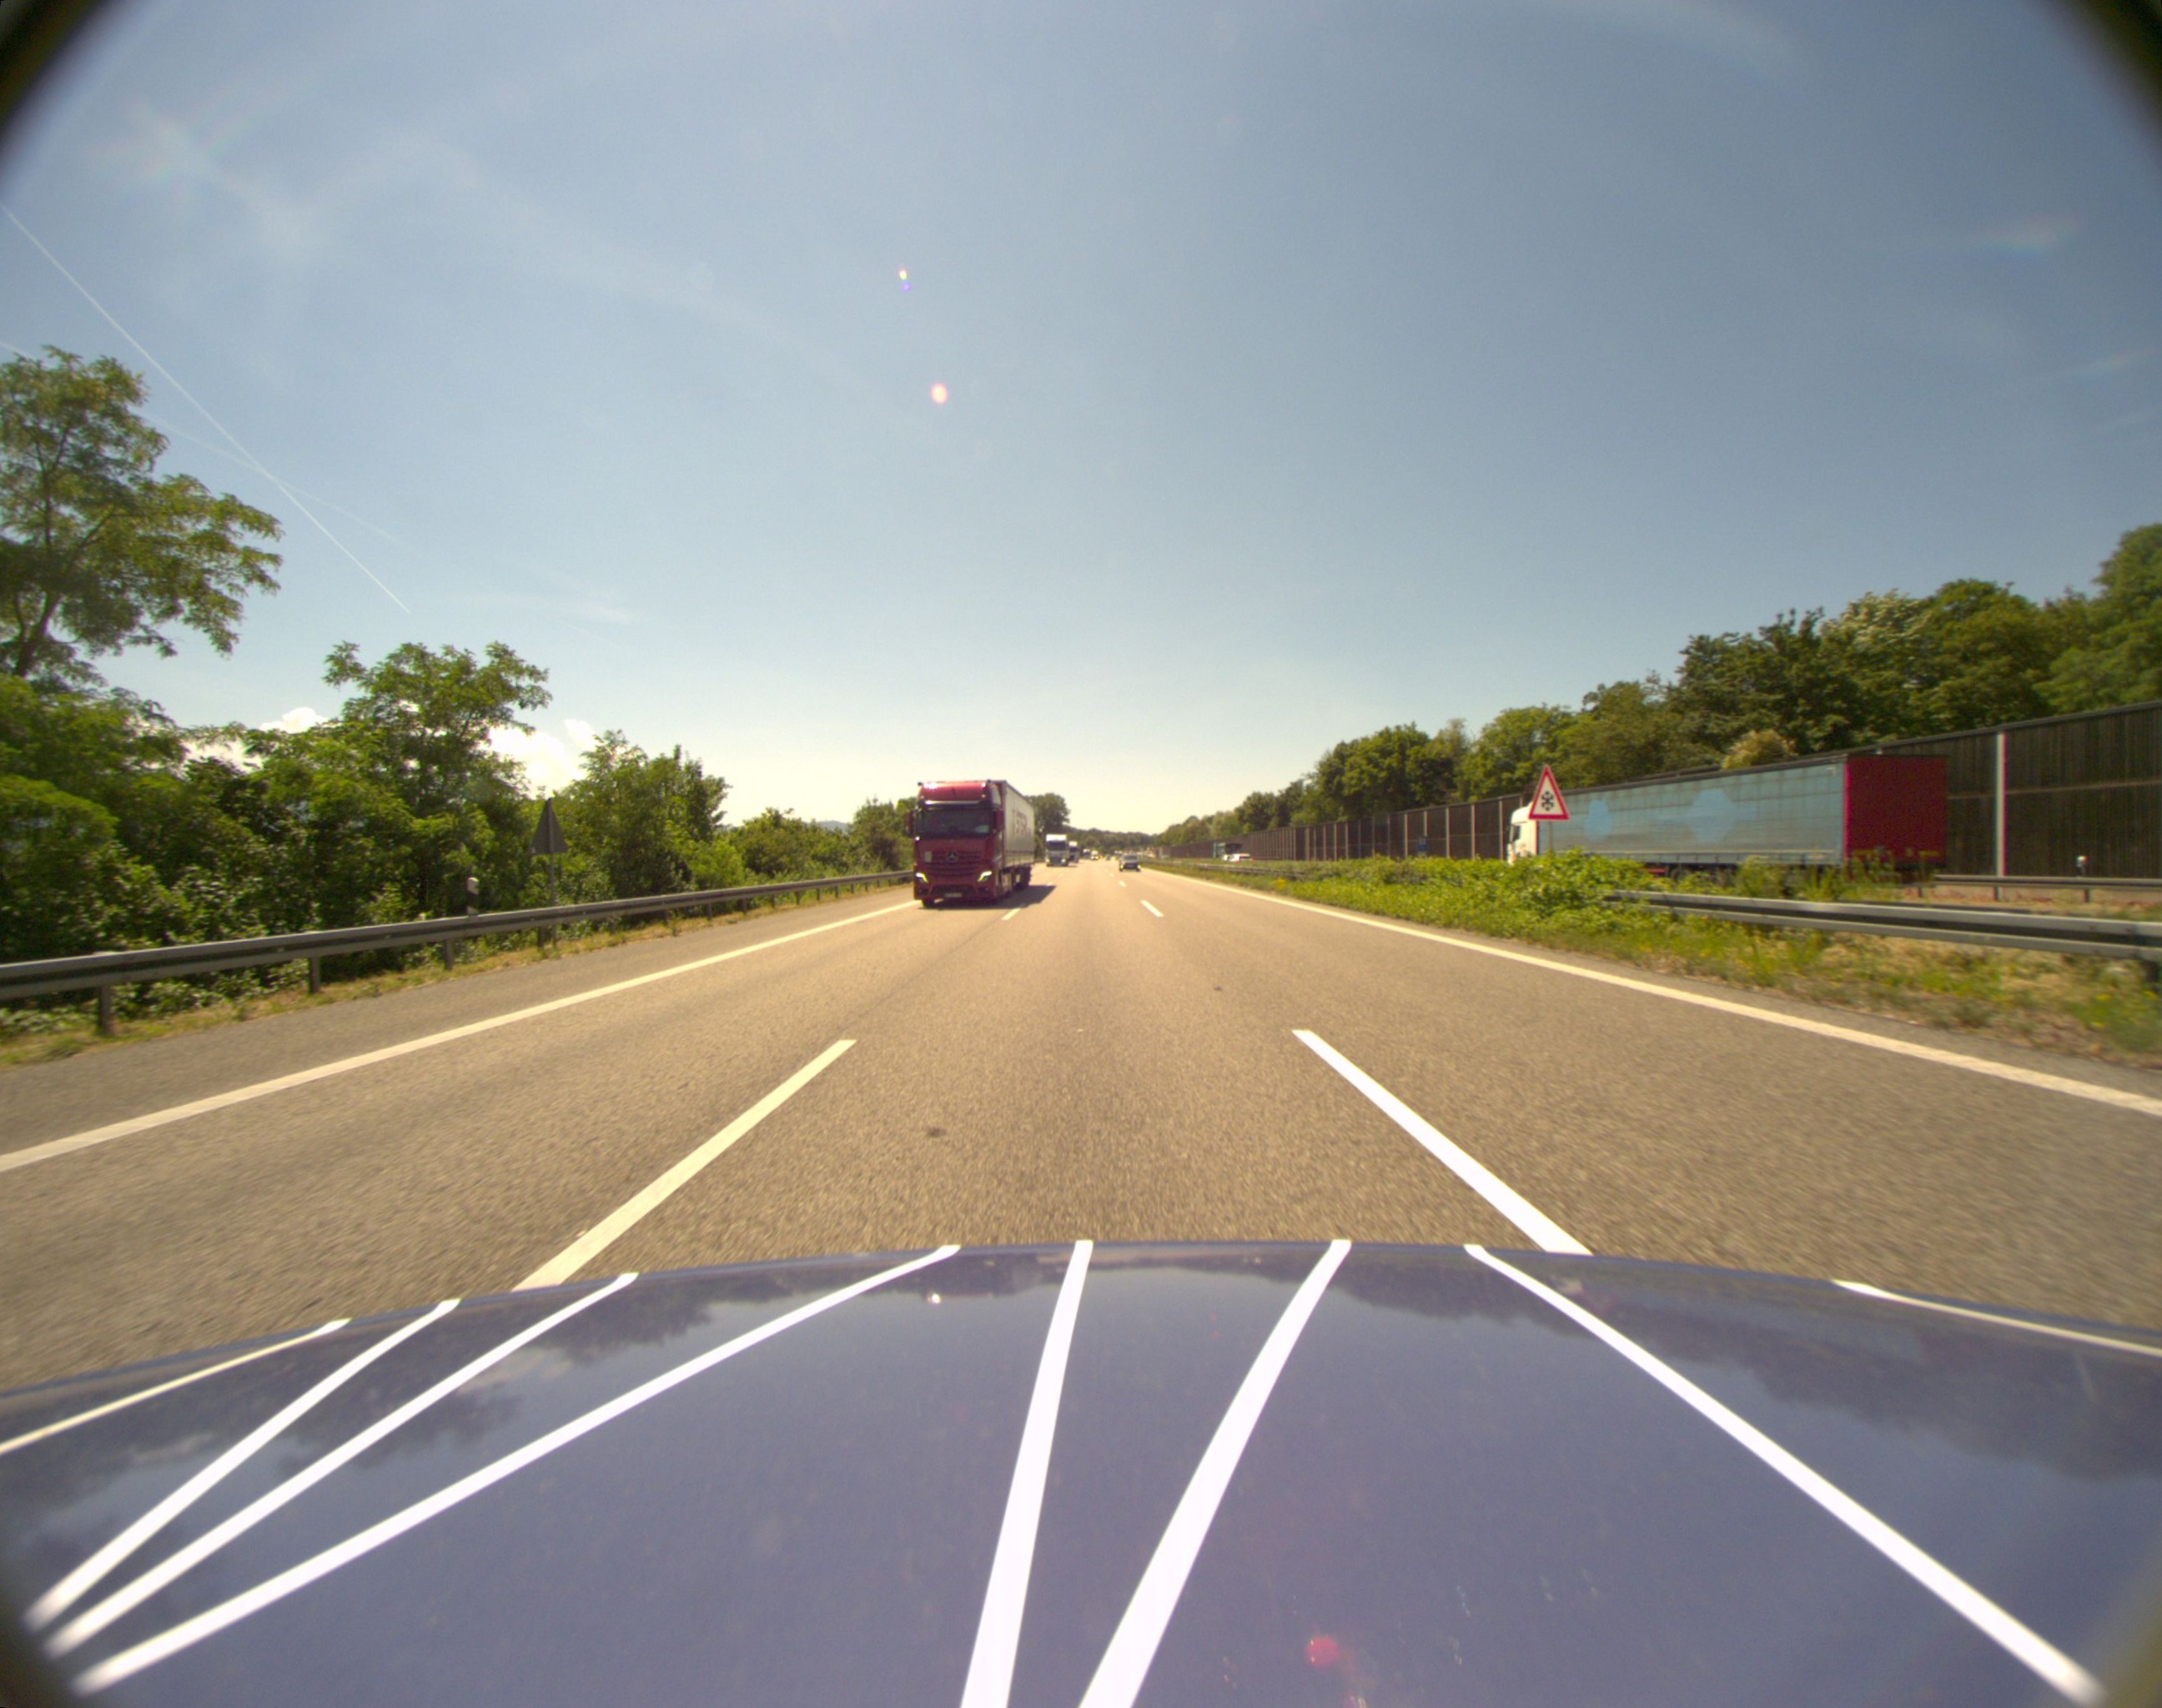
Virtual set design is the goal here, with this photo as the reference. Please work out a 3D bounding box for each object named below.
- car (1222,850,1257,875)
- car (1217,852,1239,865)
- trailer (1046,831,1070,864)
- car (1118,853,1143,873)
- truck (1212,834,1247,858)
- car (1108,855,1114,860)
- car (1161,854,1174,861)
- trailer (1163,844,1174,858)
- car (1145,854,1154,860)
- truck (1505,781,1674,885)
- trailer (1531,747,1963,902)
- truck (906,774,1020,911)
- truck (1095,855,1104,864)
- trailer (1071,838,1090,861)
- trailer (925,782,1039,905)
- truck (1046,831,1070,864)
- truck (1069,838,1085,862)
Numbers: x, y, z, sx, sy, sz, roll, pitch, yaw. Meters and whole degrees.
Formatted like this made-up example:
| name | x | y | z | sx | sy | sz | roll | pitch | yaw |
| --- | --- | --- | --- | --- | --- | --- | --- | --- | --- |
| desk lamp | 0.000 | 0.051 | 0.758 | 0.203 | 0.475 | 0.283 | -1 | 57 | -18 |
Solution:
| name | x | y | z | sx | sy | sz | roll | pitch | yaw |
| --- | --- | --- | --- | --- | --- | --- | --- | --- | --- |
| car | 13.726 | 0.714 | 66.125 | 1.998 | 2.002 | 4.895 | -2 | 0 | 1 |
| car | 18.510 | 0.506 | 95.961 | 1.998 | 1.581 | 4.493 | 0 | 0 | 1 |
| trailer | -2.951 | -0.779 | 101.252 | 2.967 | 4.082 | 12.531 | 0 | 0 | -1 |
| car | 4.453 | 0.754 | 68.300 | 1.909 | 1.717 | 4.375 | 0 | 0 | -1 |
| truck | 23.262 | -1.175 | 119.895 | 3.098 | 3.654 | 12.367 | 0 | 0 | 0 |
| car | 10.008 | 1.146 | 249.452 | 1.909 | 1.717 | 4.377 | 0 | 0 | 3 |
| car | 17.100 | 0.694 | 150.312 | 1.869 | 1.433 | 5.085 | 0 | 0 | 1 |
| trailer | 26.512 | -0.885 | 230.745 | 2.501 | 4.063 | 14.274 | 0 | 0 | 4 |
| car | 16.251 | 0.627 | 180.546 | 1.962 | 1.438 | 4.459 | 0 | 0 | 1 |
| truck | 21.588 | -0.834 | 32.793 | 2.765 | 3.998 | 6.733 | -1 | 0 | 0 |
| trailer | 21.567 | -0.802 | 26.908 | 2.741 | 3.998 | 14.304 | -1 | 0 | 0 |
| truck | -3.773 | -0.333 | 26.040 | 2.714 | 4.064 | 6.964 | 0 | 0 | 1 |
| truck | 5.803 | 1.778 | 235.336 | 2.715 | 2.712 | 12.369 | 0 | 0 | 2 |
| trailer | -0.068 | -0.811 | 152.256 | 2.541 | 4.445 | 14.166 | 0 | 0 | 5 |
| trailer | -3.667 | -0.350 | 32.196 | 2.714 | 4.064 | 14.151 | 0 | 0 | 1 |
| truck | -2.838 | -0.786 | 95.803 | 2.967 | 4.082 | 6.206 | 0 | 0 | -1 |
| truck | -0.721 | -0.800 | 145.120 | 2.541 | 4.446 | 5.574 | 0 | 0 | 5 |
